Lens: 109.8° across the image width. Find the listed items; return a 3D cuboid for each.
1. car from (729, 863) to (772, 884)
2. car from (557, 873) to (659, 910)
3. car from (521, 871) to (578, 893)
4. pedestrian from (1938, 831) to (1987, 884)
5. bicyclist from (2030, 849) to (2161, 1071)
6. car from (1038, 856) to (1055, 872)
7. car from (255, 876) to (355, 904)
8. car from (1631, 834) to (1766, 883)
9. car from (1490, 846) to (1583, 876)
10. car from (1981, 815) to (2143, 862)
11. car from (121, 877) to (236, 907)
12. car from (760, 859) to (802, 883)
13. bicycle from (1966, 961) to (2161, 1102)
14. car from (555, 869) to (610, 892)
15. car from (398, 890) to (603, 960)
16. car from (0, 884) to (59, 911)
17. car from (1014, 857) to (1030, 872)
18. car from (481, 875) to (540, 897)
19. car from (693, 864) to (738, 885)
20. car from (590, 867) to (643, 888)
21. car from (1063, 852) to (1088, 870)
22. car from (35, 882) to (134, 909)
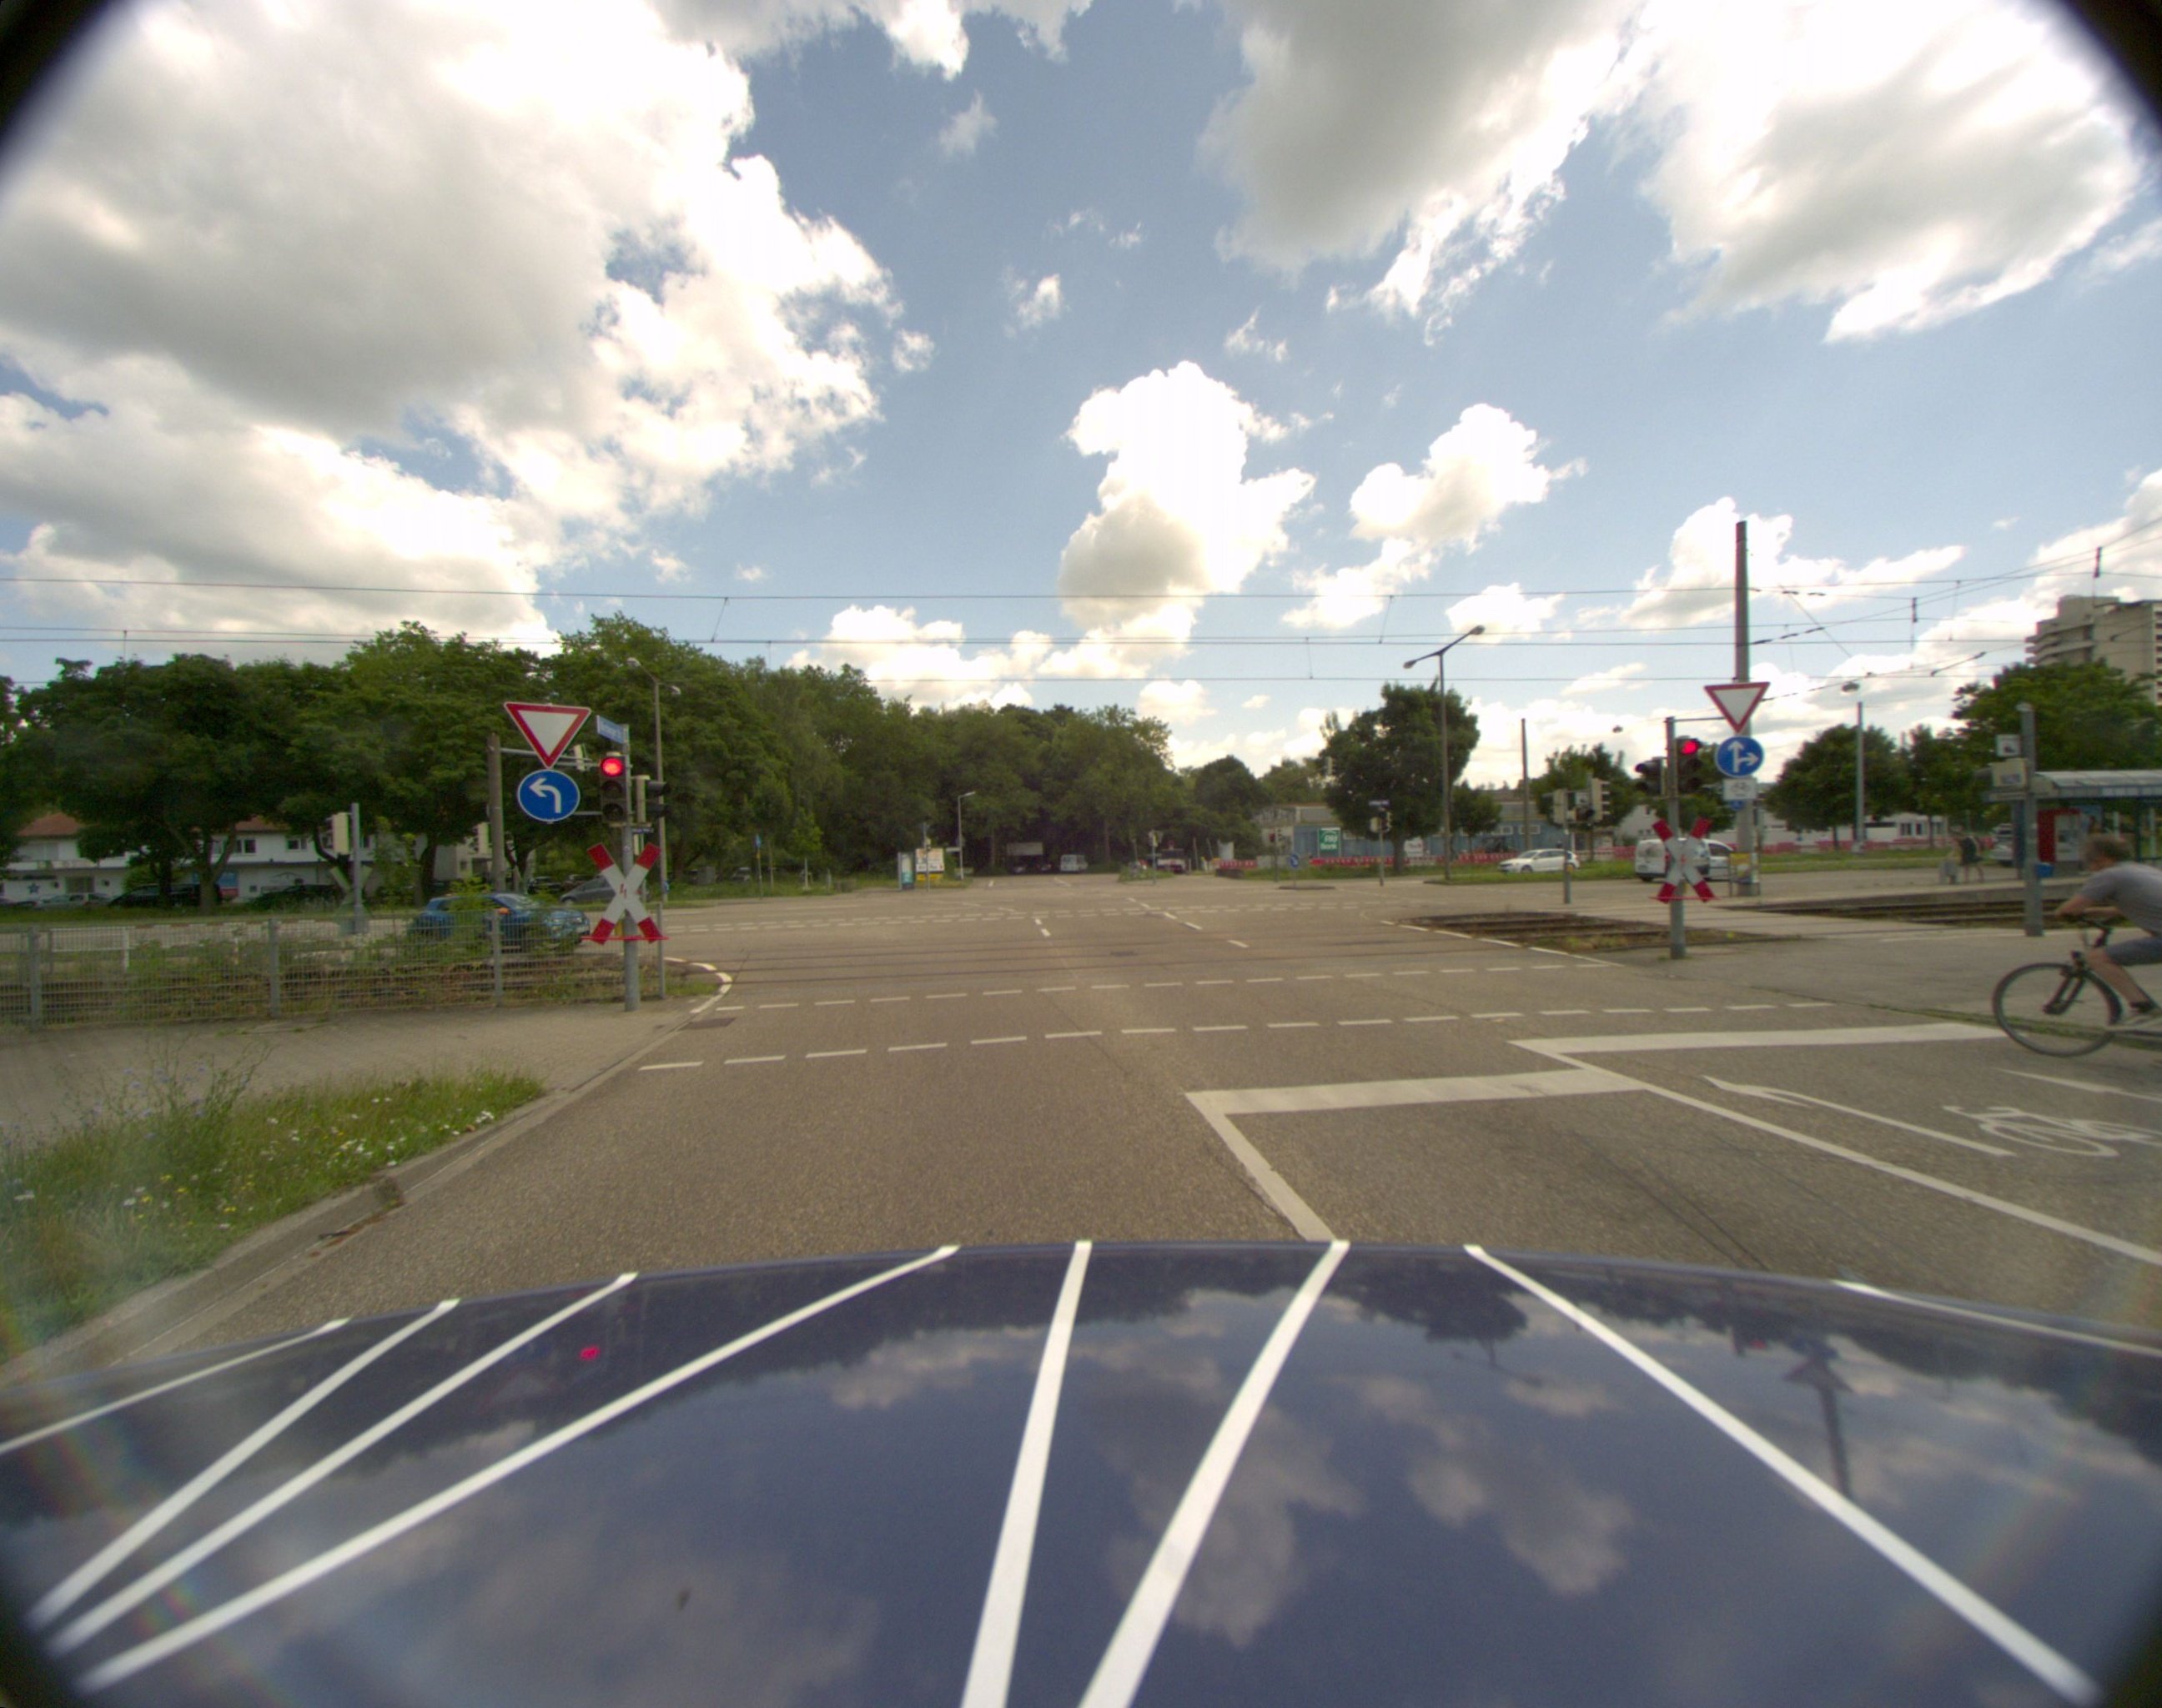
[{"bbox_3d":[-29.298,1.680,67.406,1.817,1.699,4.128,-2,0,2],"label":"car"},{"bbox_3d":[-23.097,1.819,37.240,3.772,1.584,1.790,-2,0,-9],"label":"car"},{"bbox_3d":[-40.402,2.113,57.768,4.012,1.578,2.004,-2,0,30],"label":"car"},{"bbox_3d":[25.532,0.098,22.005,0.718,1.505,0.655,-2,0,-15],"label":"pedestrian"},{"bbox_3d":[7.376,0.702,5.289,0.455,1.467,0.841,-2,0,-3],"label":"bicyclist"},{"bbox_3d":[-3.649,1.024,80.654,1.619,1.499,3.617,-1,1,-5],"label":"car"},{"bbox_3d":[-52.858,2.438,51.867,4.367,1.648,1.809,-2,2,-17],"label":"car"},{"bbox_3d":[24.873,0.155,30.672,4.154,1.775,1.747,-2,1,-4],"label":"car"},{"bbox_3d":[25.689,0.373,42.939,4.172,1.495,1.998,-1,1,-6],"label":"car"},{"bbox_3d":[43.434,-0.670,33.695,5.230,1.907,1.818,-2,0,-5],"label":"car"},{"bbox_3d":[-59.715,2.500,50.352,4.928,1.701,1.888,-2,0,-6],"label":"car"},{"bbox_3d":[-26.278,1.454,66.605,1.998,2.002,4.000,-2,0,1],"label":"car"},{"bbox_3d":[7.389,1.249,5.217,0.555,0.760,1.727,-1,0,-3],"label":"bicycle"},{"bbox_3d":[-39.325,2.090,59.955,4.013,1.578,2.004,-3,-1,30],"label":"car"},{"bbox_3d":[-14.033,1.681,18.516,3.701,1.455,1.605,-2,0,-1],"label":"car"},{"bbox_3d":[-69.568,2.853,49.196,4.022,1.578,1.763,-2,0,-6],"label":"car"},{"bbox_3d":[-6.271,1.075,80.488,1.619,1.499,3.617,-1,1,-5],"label":"car"},{"bbox_3d":[-41.616,2.305,55.430,4.012,1.475,2.004,-2,0,30],"label":"car"},{"bbox_3d":[-32.076,1.757,66.812,1.817,1.717,4.128,-2,0,2],"label":"car"},{"bbox_3d":[-37.965,1.913,62.061,4.012,1.536,2.004,-2,0,30],"label":"car"},{"bbox_3d":[-0.539,0.731,80.364,1.934,1.783,3.622,-1,1,12],"label":"car"},{"bbox_3d":[-65.454,2.715,49.954,3.665,1.578,1.922,-2,0,-6],"label":"car"}]
